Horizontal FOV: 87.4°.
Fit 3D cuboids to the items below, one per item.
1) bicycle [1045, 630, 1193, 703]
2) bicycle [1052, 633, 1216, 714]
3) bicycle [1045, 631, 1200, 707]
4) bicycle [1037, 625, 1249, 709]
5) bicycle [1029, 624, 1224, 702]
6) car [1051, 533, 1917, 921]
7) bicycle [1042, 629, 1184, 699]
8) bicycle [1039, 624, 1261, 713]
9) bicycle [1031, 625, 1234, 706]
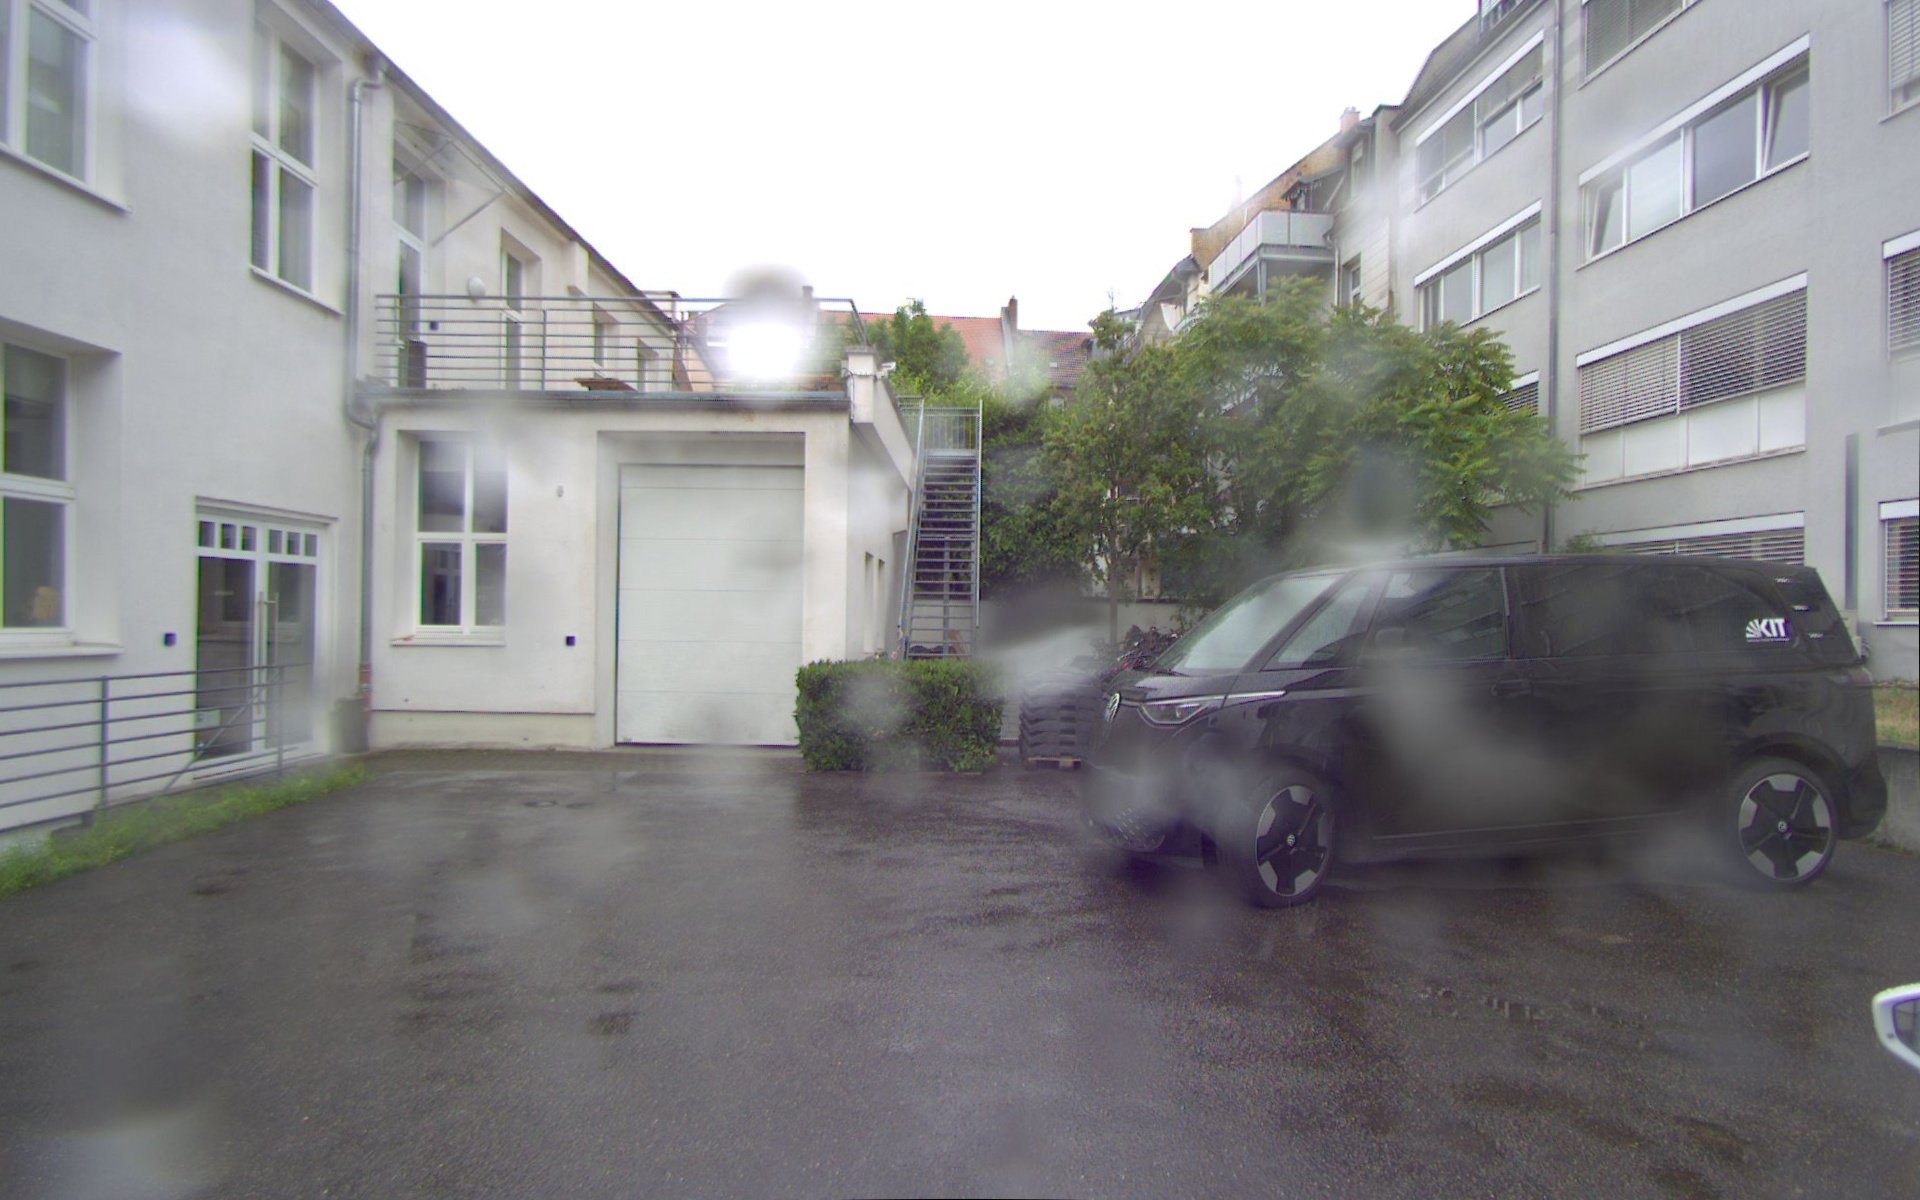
[{"bbox_3d":[2.551,1.070,16.279,2.290,1.119,0.633,1,0,0],"label":"bicycle"},{"bbox_3d":[2.524,1.061,14.724,2.290,1.119,0.633,1,0,0],"label":"bicycle"},{"bbox_3d":[2.501,1.064,15.614,2.290,1.119,0.633,1,0,0],"label":"bicycle"},{"bbox_3d":[2.796,1.026,15.511,3.161,1.258,0.631,0,-2,-2],"label":"bicycle"},{"bbox_3d":[2.769,1.051,16.838,3.161,1.258,0.631,0,-2,-2],"label":"bicycle"},{"bbox_3d":[2.958,0.677,6.287,4.438,1.922,2.044,1,-2,-7],"label":"car"},{"bbox_3d":[2.553,1.073,16.938,2.290,1.119,0.633,1,0,0],"label":"bicycle"},{"bbox_3d":[2.770,1.000,14.781,3.161,1.258,0.631,0,-2,-2],"label":"bicycle"},{"bbox_3d":[2.762,1.052,16.184,3.161,1.258,0.631,0,-2,-2],"label":"bicycle"}]
